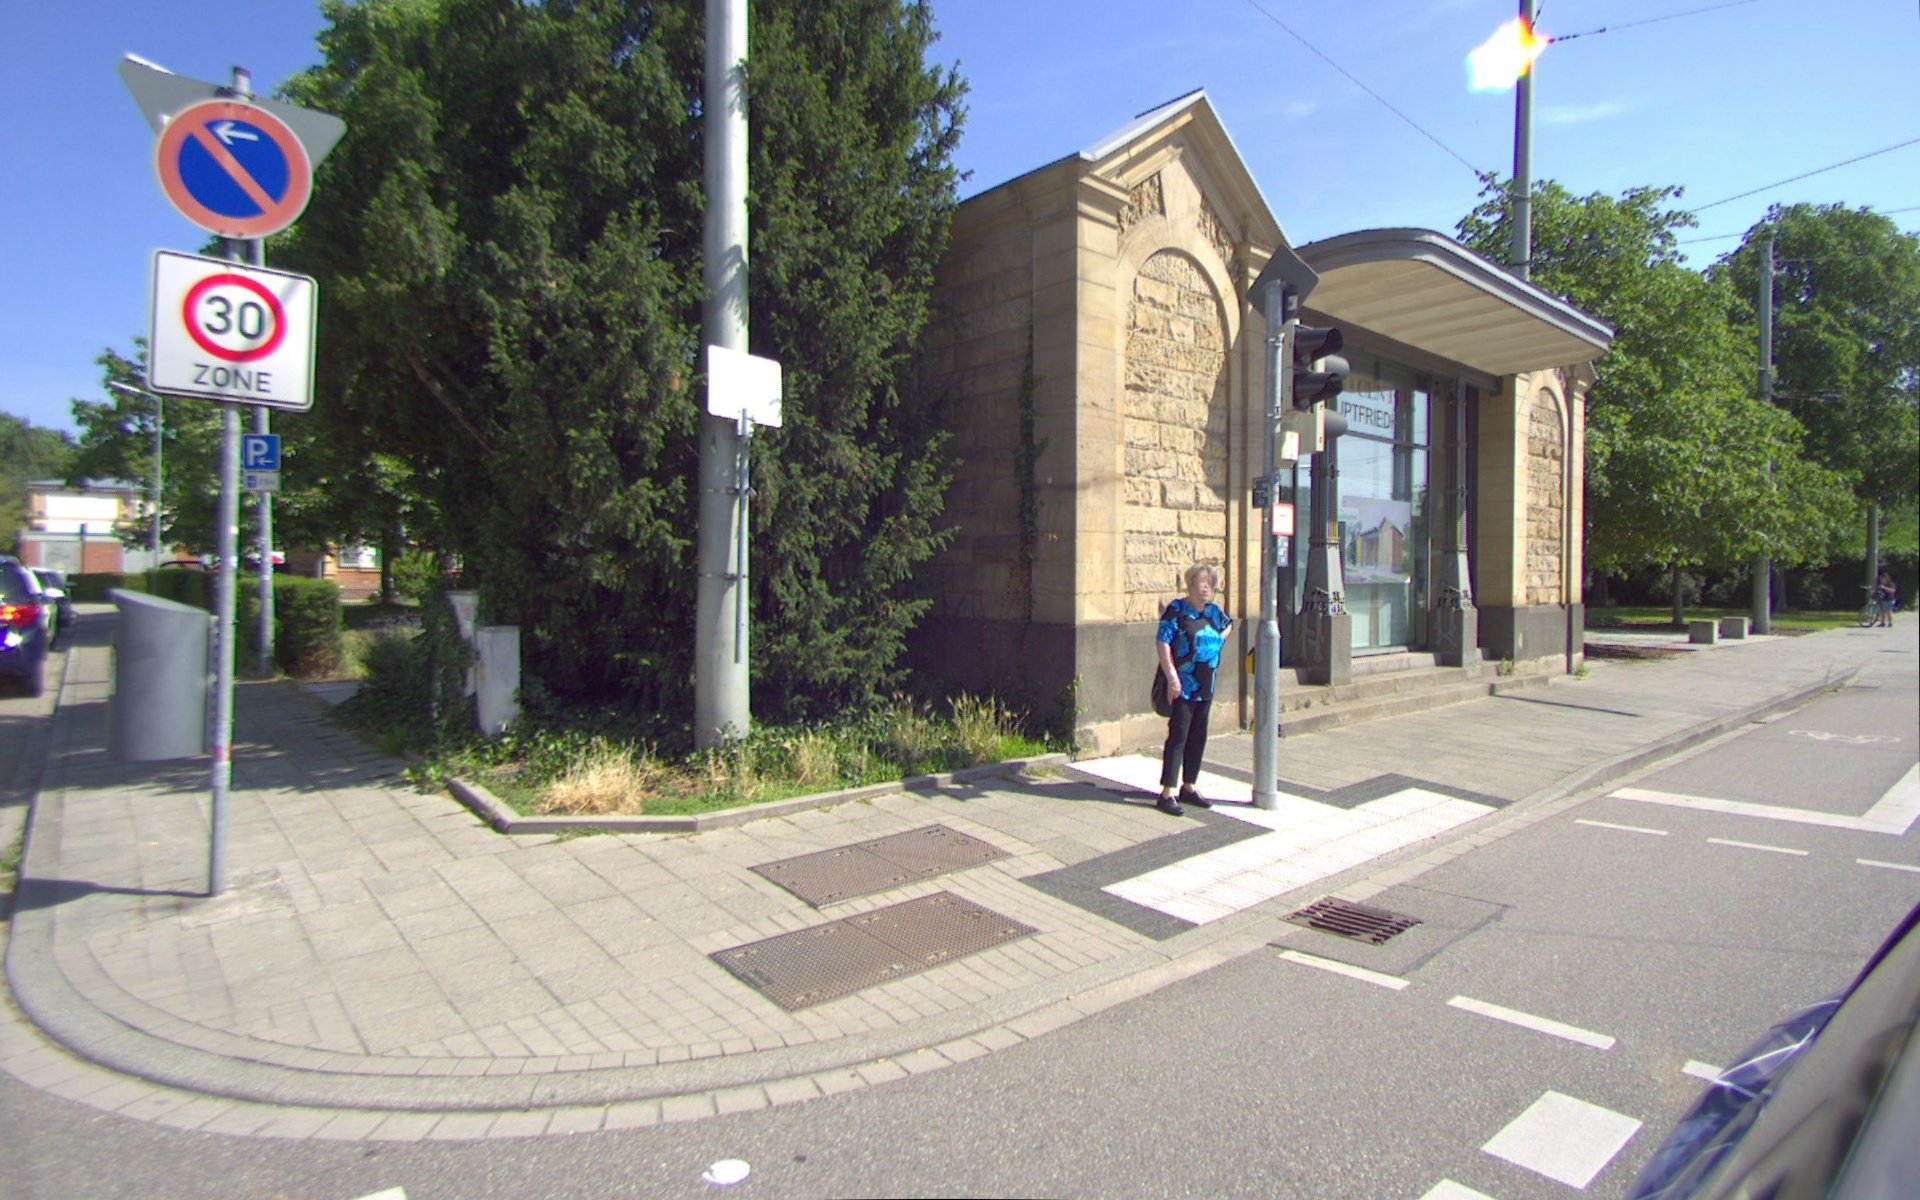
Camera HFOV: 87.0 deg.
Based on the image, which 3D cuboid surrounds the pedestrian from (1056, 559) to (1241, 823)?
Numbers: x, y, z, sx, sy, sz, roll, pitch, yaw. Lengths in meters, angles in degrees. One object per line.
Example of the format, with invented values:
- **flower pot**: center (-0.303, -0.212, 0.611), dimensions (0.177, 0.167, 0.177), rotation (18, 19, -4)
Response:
- **pedestrian**: center (1.184, 0.510, 6.408), dimensions (0.842, 1.528, 0.782), rotation (-1, 2, -33)

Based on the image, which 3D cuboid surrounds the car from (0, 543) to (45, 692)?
- **car**: center (-11.861, 0.129, 11.747), dimensions (1.705, 1.587, 3.721), rotation (1, 1, -44)

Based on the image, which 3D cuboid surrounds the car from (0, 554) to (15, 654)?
- **car**: center (-15.943, 0.015, 15.899), dimensions (1.546, 1.469, 4.317), rotation (-1, 3, -43)

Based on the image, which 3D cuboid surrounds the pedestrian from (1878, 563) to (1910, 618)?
- **pedestrian**: center (27.108, -0.286, 29.378), dimensions (0.652, 1.567, 0.541), rotation (-1, 4, -42)

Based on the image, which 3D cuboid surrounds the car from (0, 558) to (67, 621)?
- **car**: center (-23.474, -0.316, 25.246), dimensions (1.710, 1.469, 4.061), rotation (-1, 3, -43)

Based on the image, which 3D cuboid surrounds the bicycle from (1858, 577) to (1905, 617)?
- **bicycle**: center (26.955, -0.100, 29.594), dimensions (1.771, 1.125, 0.538), rotation (-2, 3, -32)

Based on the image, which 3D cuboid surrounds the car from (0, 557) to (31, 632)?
- **car**: center (-20.465, -0.157, 21.002), dimensions (1.710, 1.469, 4.061), rotation (-1, 3, -43)
